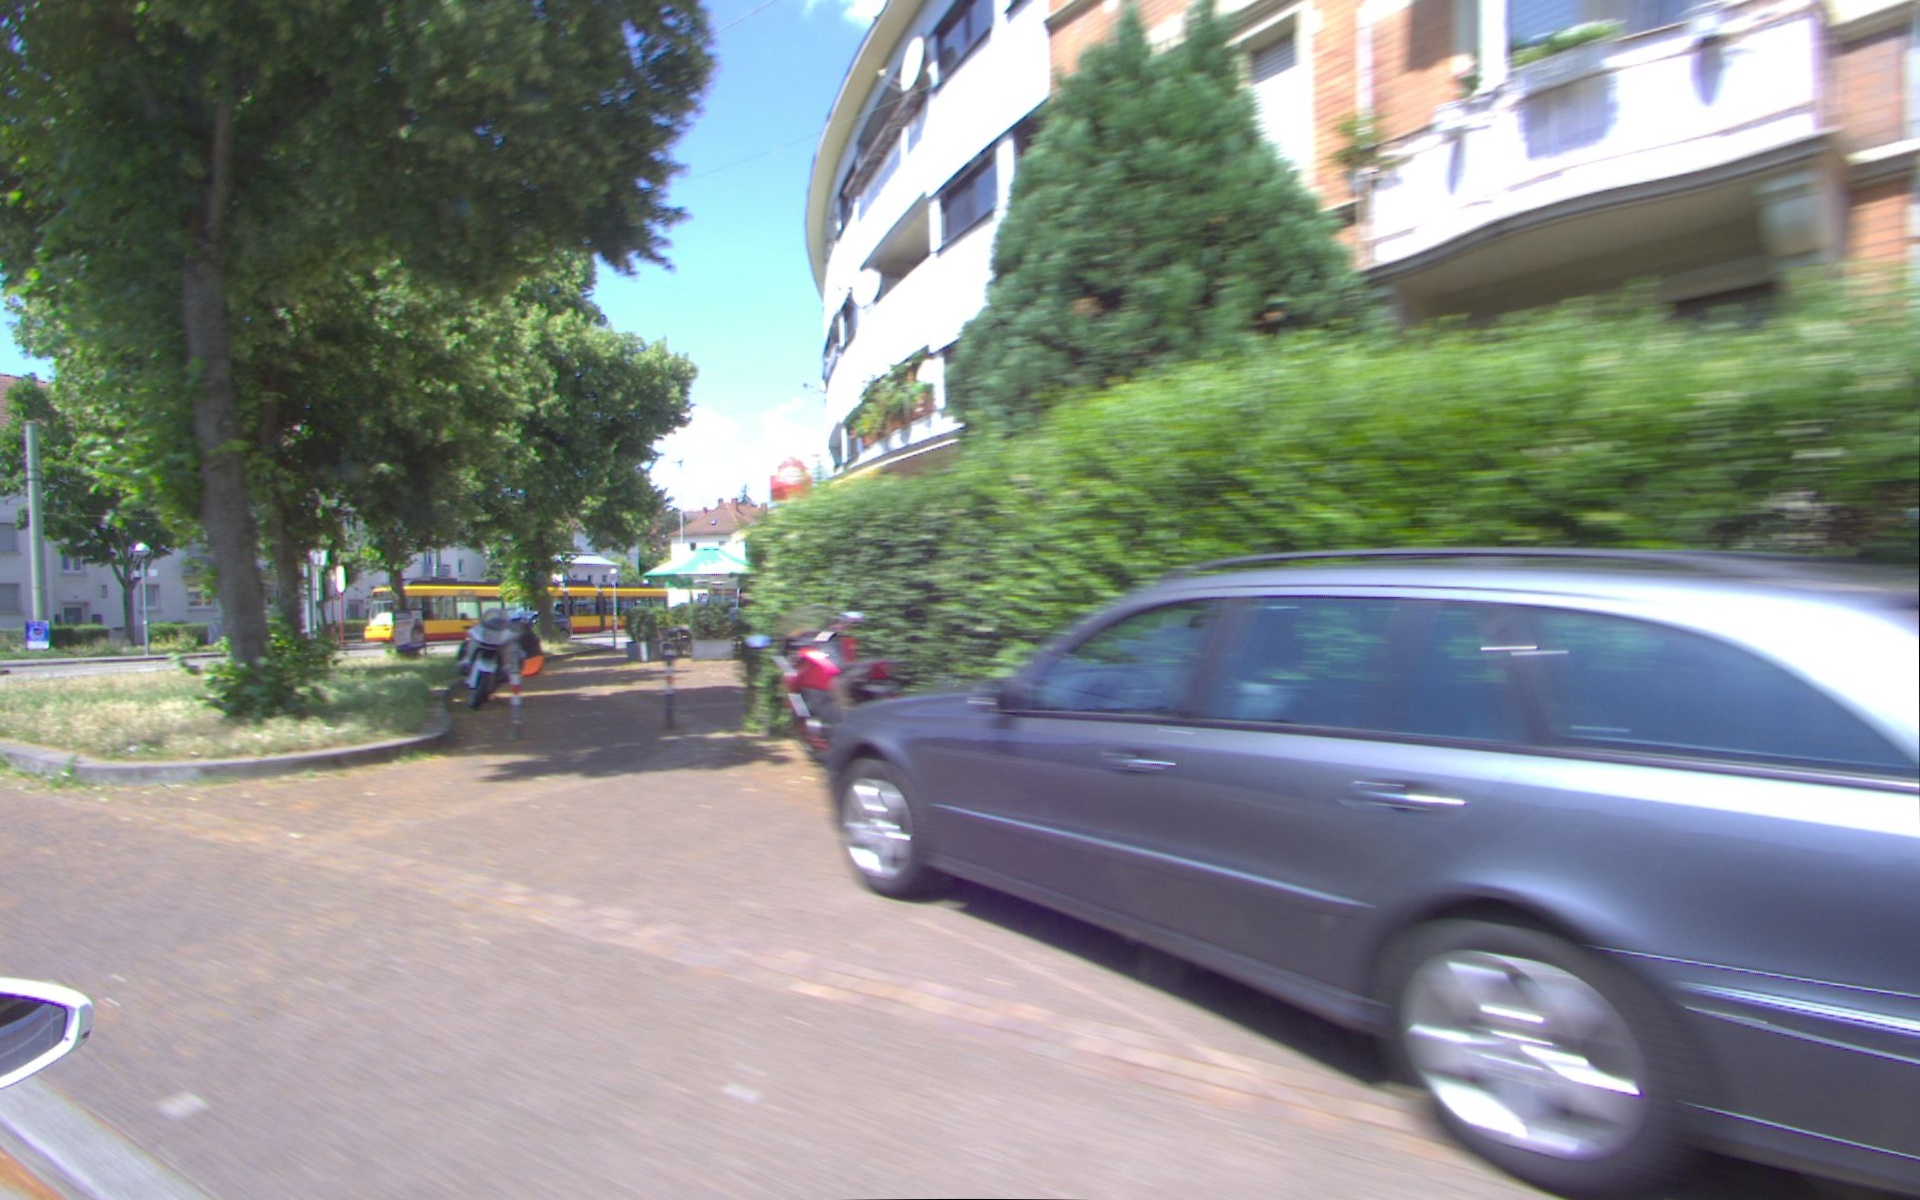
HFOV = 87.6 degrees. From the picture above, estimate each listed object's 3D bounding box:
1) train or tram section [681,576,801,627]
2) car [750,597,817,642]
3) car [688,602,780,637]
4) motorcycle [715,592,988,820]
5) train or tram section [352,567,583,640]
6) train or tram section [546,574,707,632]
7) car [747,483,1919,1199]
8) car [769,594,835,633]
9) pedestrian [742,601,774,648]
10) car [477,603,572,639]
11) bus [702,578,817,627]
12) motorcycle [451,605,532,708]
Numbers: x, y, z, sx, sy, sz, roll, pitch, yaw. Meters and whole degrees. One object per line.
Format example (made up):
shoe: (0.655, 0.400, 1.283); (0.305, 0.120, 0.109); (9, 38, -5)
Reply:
train or tram section: (-18.375, 0.129, 86.057); (2.744, 3.946, 15.526); (-1, 0, 17)
car: (-6.062, 0.689, 34.823); (1.674, 1.447, 4.364); (-1, -1, -2)
car: (-10.070, 0.877, 44.568); (4.123, 1.458, 1.887); (-2, -1, 40)
motorcycle: (-0.855, 0.624, 7.127); (0.921, 1.320, 2.263); (-2, 2, -36)
train or tram section: (-27.283, 0.204, 56.973); (2.768, 3.615, 14.157); (-1, 0, 17)
train or tram section: (-23.052, 0.208, 70.738); (2.744, 3.615, 14.681); (-1, 0, 17)
car: (1.108, 0.530, 3.991); (1.818, 1.569, 5.115); (-2, 2, -37)
car: (-7.879, 0.687, 49.697); (1.816, 1.817, 4.003); (-1, -1, -31)
pedestrian: (-5.851, 0.705, 29.070); (0.800, 1.323, 1.016); (0, 0, -6)
car: (-19.185, 0.886, 44.353); (1.961, 1.520, 4.425); (0, 0, 5)
bus: (-14.045, 0.198, 71.572); (2.690, 3.170, 11.989); (-1, 0, 17)
motorcycle: (-6.619, 0.742, 14.082); (0.905, 1.330, 2.214); (0, -1, -28)
